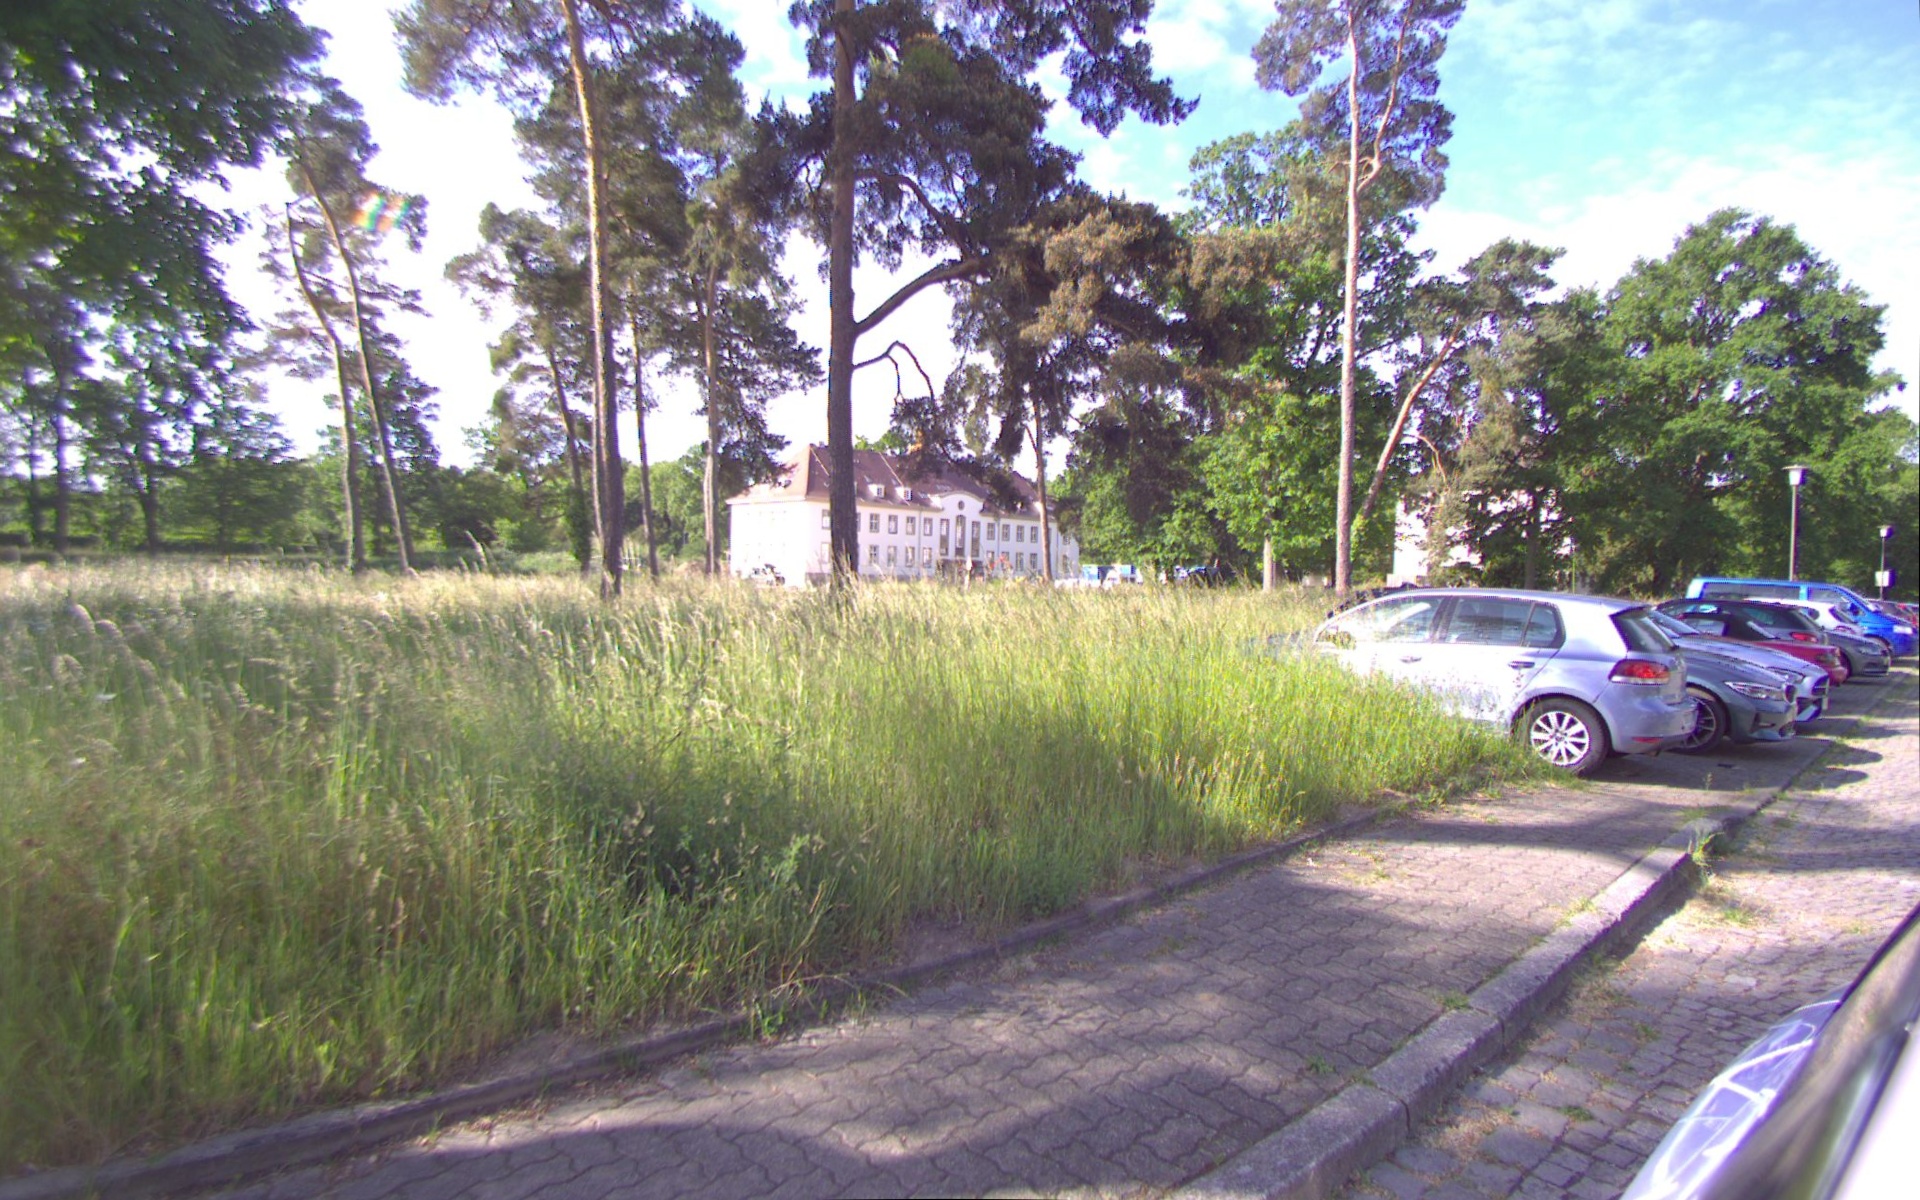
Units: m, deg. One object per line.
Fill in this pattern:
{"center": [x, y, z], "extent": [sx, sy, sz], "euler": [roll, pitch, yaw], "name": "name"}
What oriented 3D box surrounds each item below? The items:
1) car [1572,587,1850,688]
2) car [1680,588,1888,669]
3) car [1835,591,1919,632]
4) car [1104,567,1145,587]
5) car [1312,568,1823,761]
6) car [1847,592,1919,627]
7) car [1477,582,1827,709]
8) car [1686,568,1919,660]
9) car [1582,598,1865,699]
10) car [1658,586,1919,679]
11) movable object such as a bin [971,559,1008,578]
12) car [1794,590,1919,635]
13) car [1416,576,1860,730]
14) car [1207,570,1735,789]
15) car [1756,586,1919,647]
{"center": [13.330, 0.583, 18.117], "extent": [1.523, 1.509, 3.774], "euler": [0, 2, -43], "name": "car"}
{"center": [17.711, 0.557, 21.860], "extent": [1.424, 1.509, 3.263], "euler": [0, 2, -40], "name": "car"}
{"center": [42.314, 0.506, 45.753], "extent": [1.725, 1.763, 3.995], "euler": [0, 0, -40], "name": "car"}
{"center": [18.061, -2.510, 110.951], "extent": [4.691, 2.038, 1.996], "euler": [0, 2, -43], "name": "car"}
{"center": [6.457, 0.519, 11.149], "extent": [4.497, 1.535, 1.797], "euler": [5, 3, 44], "name": "car"}
{"center": [45.551, 0.442, 48.741], "extent": [1.725, 1.635, 3.996], "euler": [-1, 0, -39], "name": "car"}
{"center": [9.909, 0.542, 14.715], "extent": [1.633, 1.410, 3.913], "euler": [0, 4, -43], "name": "car"}
{"center": [21.473, 0.278, 25.598], "extent": [1.965, 2.038, 4.723], "euler": [0, 2, -41], "name": "car"}
{"center": [11.875, 0.680, 15.885], "extent": [1.396, 1.271, 3.352], "euler": [0, 2, -43], "name": "car"}
{"center": [15.938, 0.553, 19.644], "extent": [1.478, 1.509, 3.629], "euler": [0, 2, -33], "name": "car"}
{"center": [3.757, -3.947, 127.732], "extent": [1.994, 2.351, 4.909], "euler": [3, 2, 43], "name": "movable object such as a bin"}
{"center": [34.908, 0.458, 39.010], "extent": [1.725, 1.537, 3.996], "euler": [0, 2, -40], "name": "car"}
{"center": [8.487, 0.521, 12.991], "extent": [1.796, 1.419, 4.417], "euler": [0, 4, -44], "name": "car"}
{"center": [4.577, 0.537, 9.501], "extent": [1.840, 1.478, 4.021], "euler": [0, 3, -43], "name": "car"}
{"center": [27.723, 0.473, 31.777], "extent": [1.725, 1.660, 3.996], "euler": [0, 2, -40], "name": "car"}
